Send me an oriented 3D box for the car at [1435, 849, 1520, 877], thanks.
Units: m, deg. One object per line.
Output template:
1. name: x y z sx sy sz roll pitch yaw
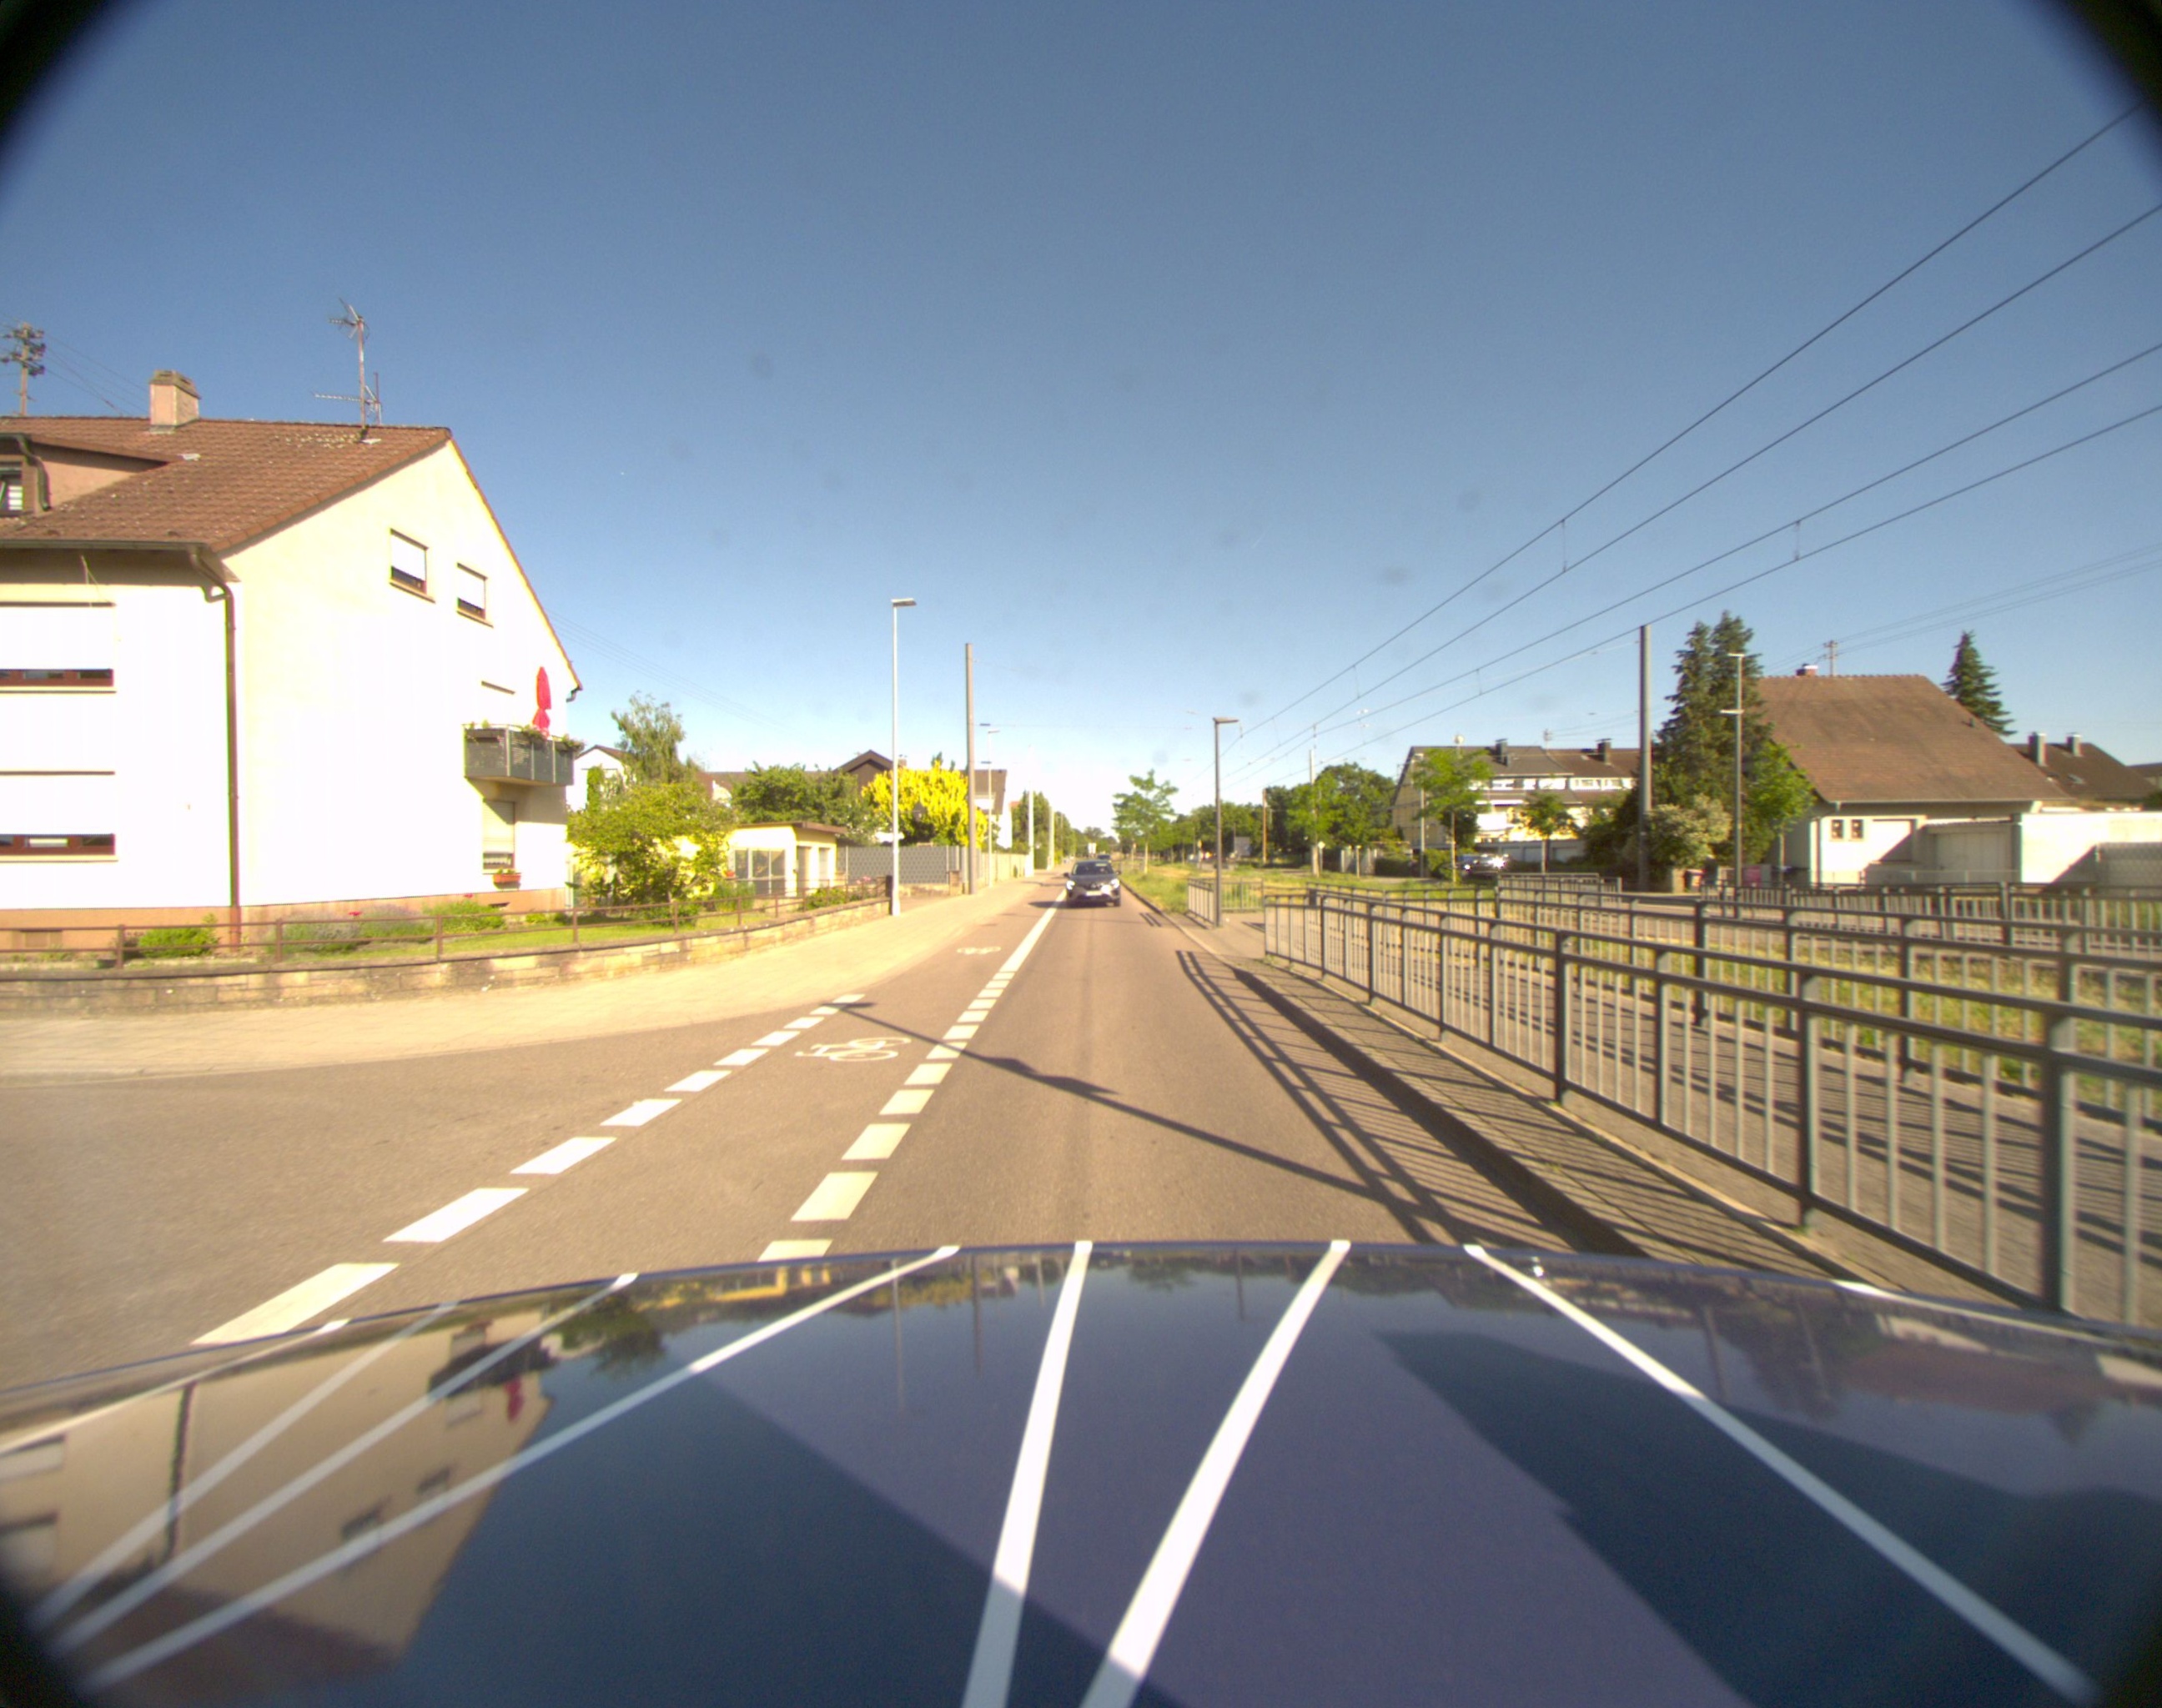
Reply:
1. car: 25.400 0.533 48.766 4.556 1.724 2.051 0 0 -11

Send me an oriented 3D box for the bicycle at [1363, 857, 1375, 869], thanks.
1. bicycle: 24.851 0.761 65.586 0.424 0.936 1.748 -2 1 1

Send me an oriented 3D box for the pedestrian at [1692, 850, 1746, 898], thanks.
1. pedestrian: 22.316 0.670 26.608 0.967 1.631 1.085 -1 1 1

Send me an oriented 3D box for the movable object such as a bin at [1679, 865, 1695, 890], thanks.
1. movable object such as a bin: 24.054 0.913 30.144 0.326 0.964 0.350 -2 1 -3

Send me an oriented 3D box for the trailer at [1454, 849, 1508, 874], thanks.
1. trailer: 26.818 0.487 50.972 2.921 1.638 1.398 -1 1 -2

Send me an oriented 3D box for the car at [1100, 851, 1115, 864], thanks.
1. car: 3.878 0.500 112.024 1.998 1.824 4.000 -2 1 2

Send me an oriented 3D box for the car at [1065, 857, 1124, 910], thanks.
1. car: 0.406 0.956 26.322 1.867 1.614 3.999 -1 0 -1

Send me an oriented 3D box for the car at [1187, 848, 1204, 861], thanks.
1. car: 17.139 0.126 113.731 1.902 1.903 4.702 0 0 2

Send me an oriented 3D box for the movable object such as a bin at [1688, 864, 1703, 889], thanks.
1. movable object such as a bin: 24.385 0.891 30.150 0.299 0.960 0.333 -2 1 -3
